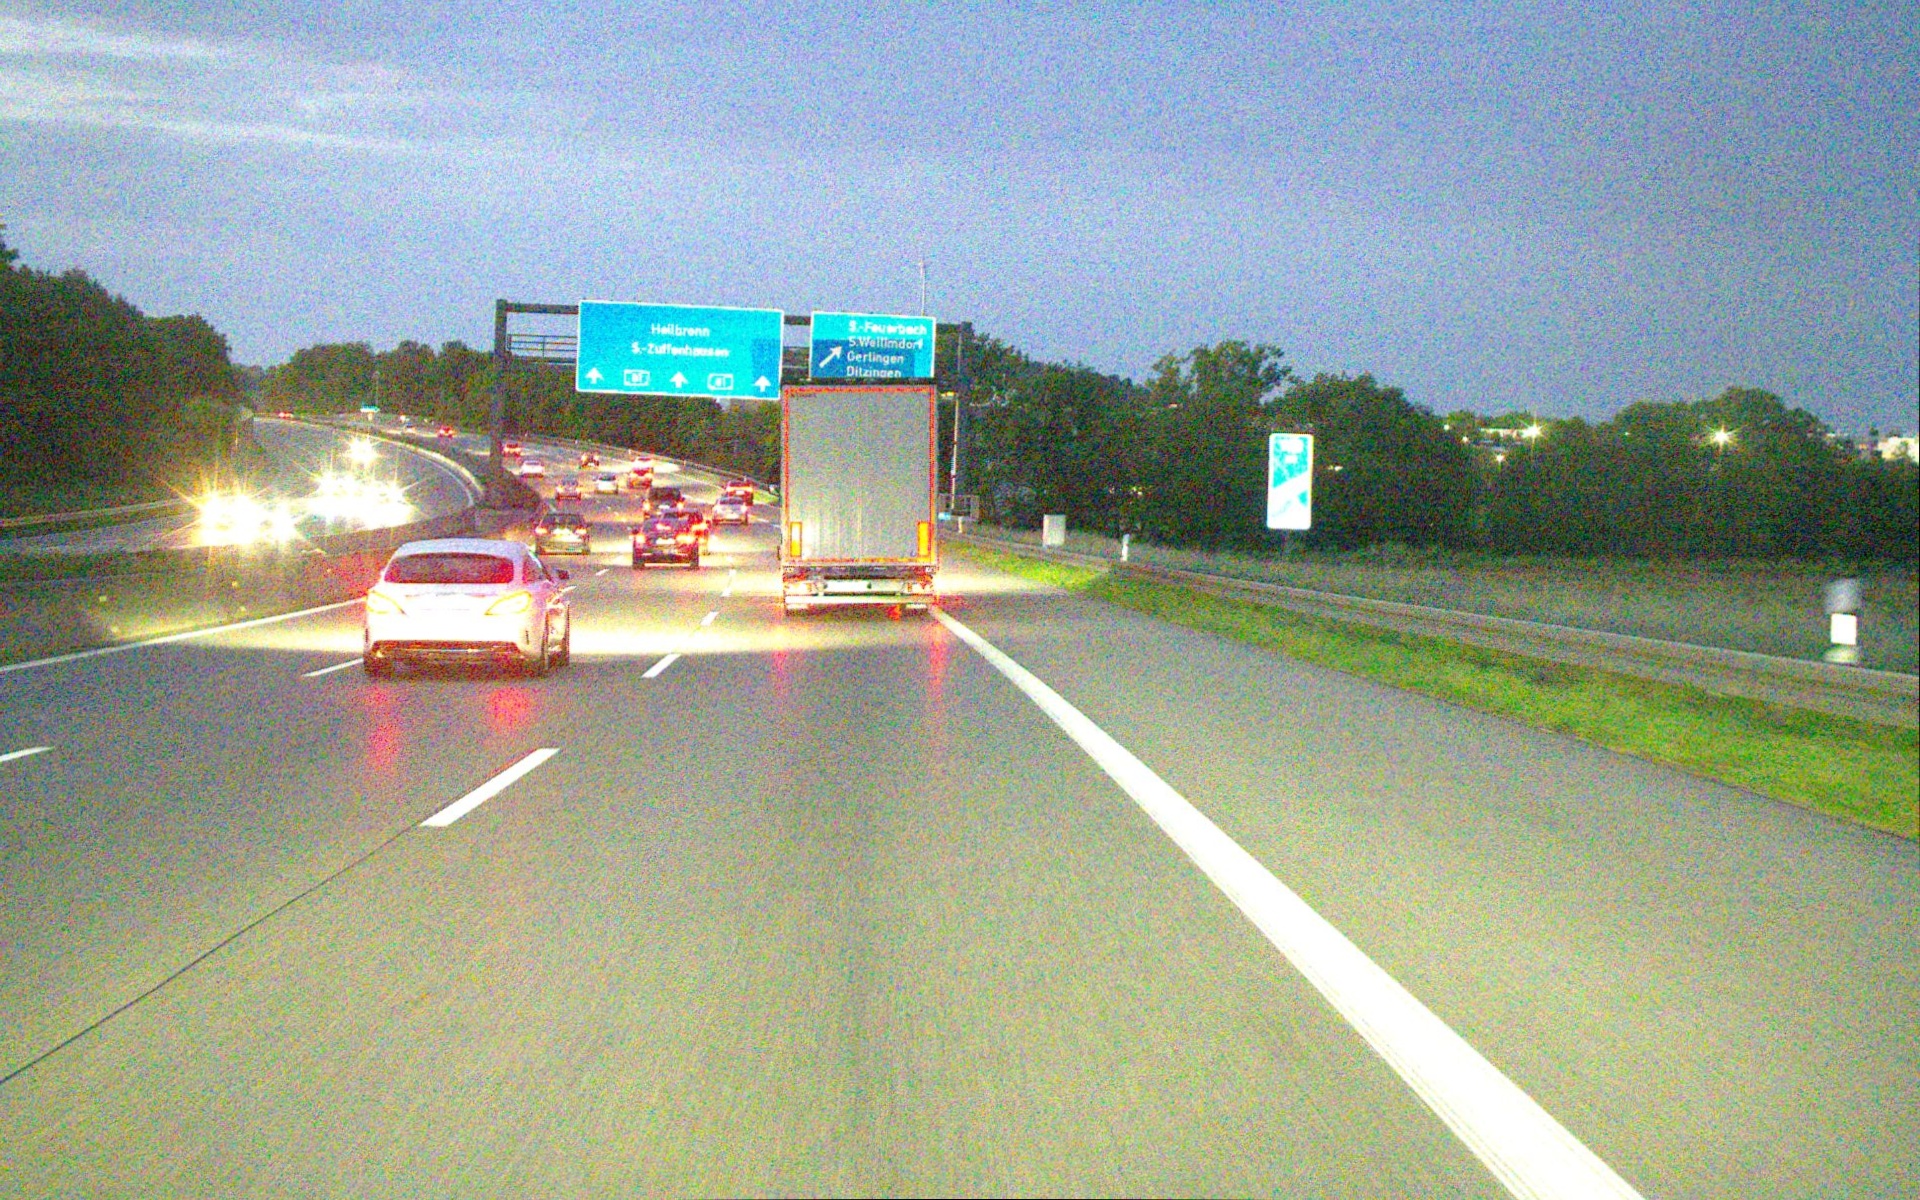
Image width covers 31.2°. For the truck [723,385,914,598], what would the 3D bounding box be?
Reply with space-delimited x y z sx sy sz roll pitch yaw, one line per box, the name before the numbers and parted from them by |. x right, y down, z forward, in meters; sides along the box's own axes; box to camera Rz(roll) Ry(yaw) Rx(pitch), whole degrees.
truck | -2.928 -2.207 69.091 3.550 4.076 6.153 0 2 -5

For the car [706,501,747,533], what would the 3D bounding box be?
car | -11.818 -4.178 174.294 1.993 1.529 4.000 1 1 -3

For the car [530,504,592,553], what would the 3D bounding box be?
car | -13.633 -2.423 117.646 1.761 1.569 4.577 1 1 -3

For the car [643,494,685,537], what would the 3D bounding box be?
car | -14.595 -4.175 169.674 1.993 2.007 4.001 1 0 -4

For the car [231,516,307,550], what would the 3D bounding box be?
car | -26.426 -2.550 131.625 2.059 1.221 5.235 1 1 -3

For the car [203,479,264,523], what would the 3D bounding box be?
car | -33.108 -4.497 156.708 1.993 1.887 5.059 1 1 -4

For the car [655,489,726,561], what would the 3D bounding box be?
car | -9.199 -2.543 117.076 1.993 2.372 4.001 1 0 -9

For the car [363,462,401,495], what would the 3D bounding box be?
car | -36.904 -7.743 219.480 1.875 1.887 5.059 1 1 -4

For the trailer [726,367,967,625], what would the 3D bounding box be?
trailer | -2.320 -1.958 62.440 3.549 4.102 15.067 0 2 -5

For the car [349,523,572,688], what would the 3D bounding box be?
car | -5.245 0.030 36.666 1.906 1.609 4.804 1 1 -3

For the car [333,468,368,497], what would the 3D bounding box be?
car | -42.966 -8.264 242.323 1.993 1.887 4.680 1 1 -6

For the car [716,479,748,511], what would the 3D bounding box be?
car | -15.059 -6.923 226.595 1.993 1.971 4.001 1 0 -5

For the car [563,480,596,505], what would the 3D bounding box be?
car | -26.654 -7.501 240.784 1.993 1.616 4.000 1 1 -3

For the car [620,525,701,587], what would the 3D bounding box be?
car | -8.481 -1.236 97.673 2.065 1.680 4.577 1 1 -3

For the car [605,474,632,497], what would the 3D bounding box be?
car | -25.832 -8.646 259.734 1.993 1.616 4.001 1 1 -6
